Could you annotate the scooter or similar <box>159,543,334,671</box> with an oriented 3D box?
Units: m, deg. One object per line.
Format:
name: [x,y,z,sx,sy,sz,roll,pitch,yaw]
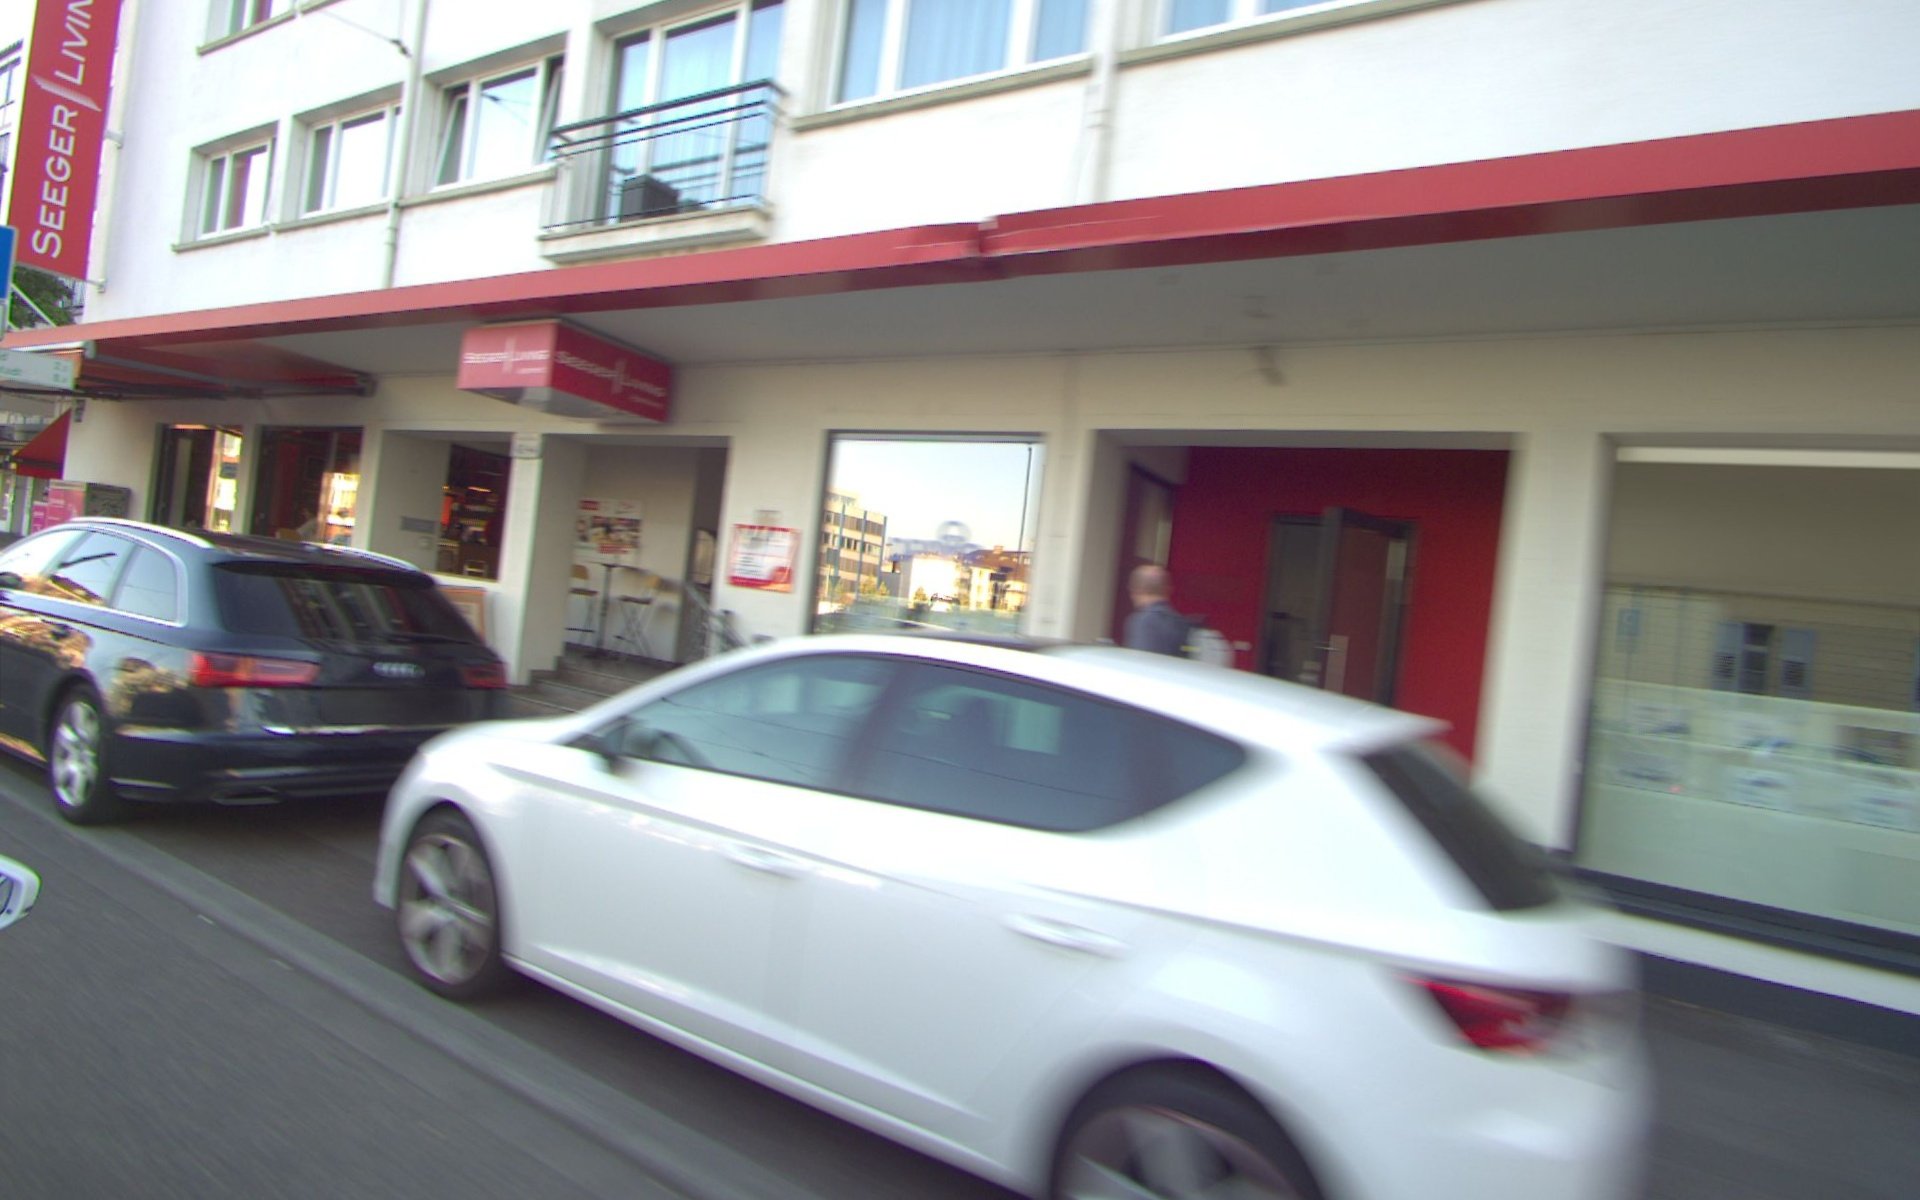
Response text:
scooter or similar: [-7.736,0.088,10.952,1.416,1.209,0.334,7,1,-16]

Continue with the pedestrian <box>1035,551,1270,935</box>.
pedestrian: [1.104,0.749,5.694,0.919,1.903,0.776,6,0,29]

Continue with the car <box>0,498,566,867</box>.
car: [-4.721,0.273,6.064,4.609,1.428,1.794,6,-3,31]

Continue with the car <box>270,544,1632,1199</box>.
car: [-0.324,0.779,3.418,4.121,1.436,1.655,6,-3,31]

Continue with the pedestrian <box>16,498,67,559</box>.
pedestrian: [-27.785,-2.170,30.430,0.880,1.702,0.748,6,-2,32]
